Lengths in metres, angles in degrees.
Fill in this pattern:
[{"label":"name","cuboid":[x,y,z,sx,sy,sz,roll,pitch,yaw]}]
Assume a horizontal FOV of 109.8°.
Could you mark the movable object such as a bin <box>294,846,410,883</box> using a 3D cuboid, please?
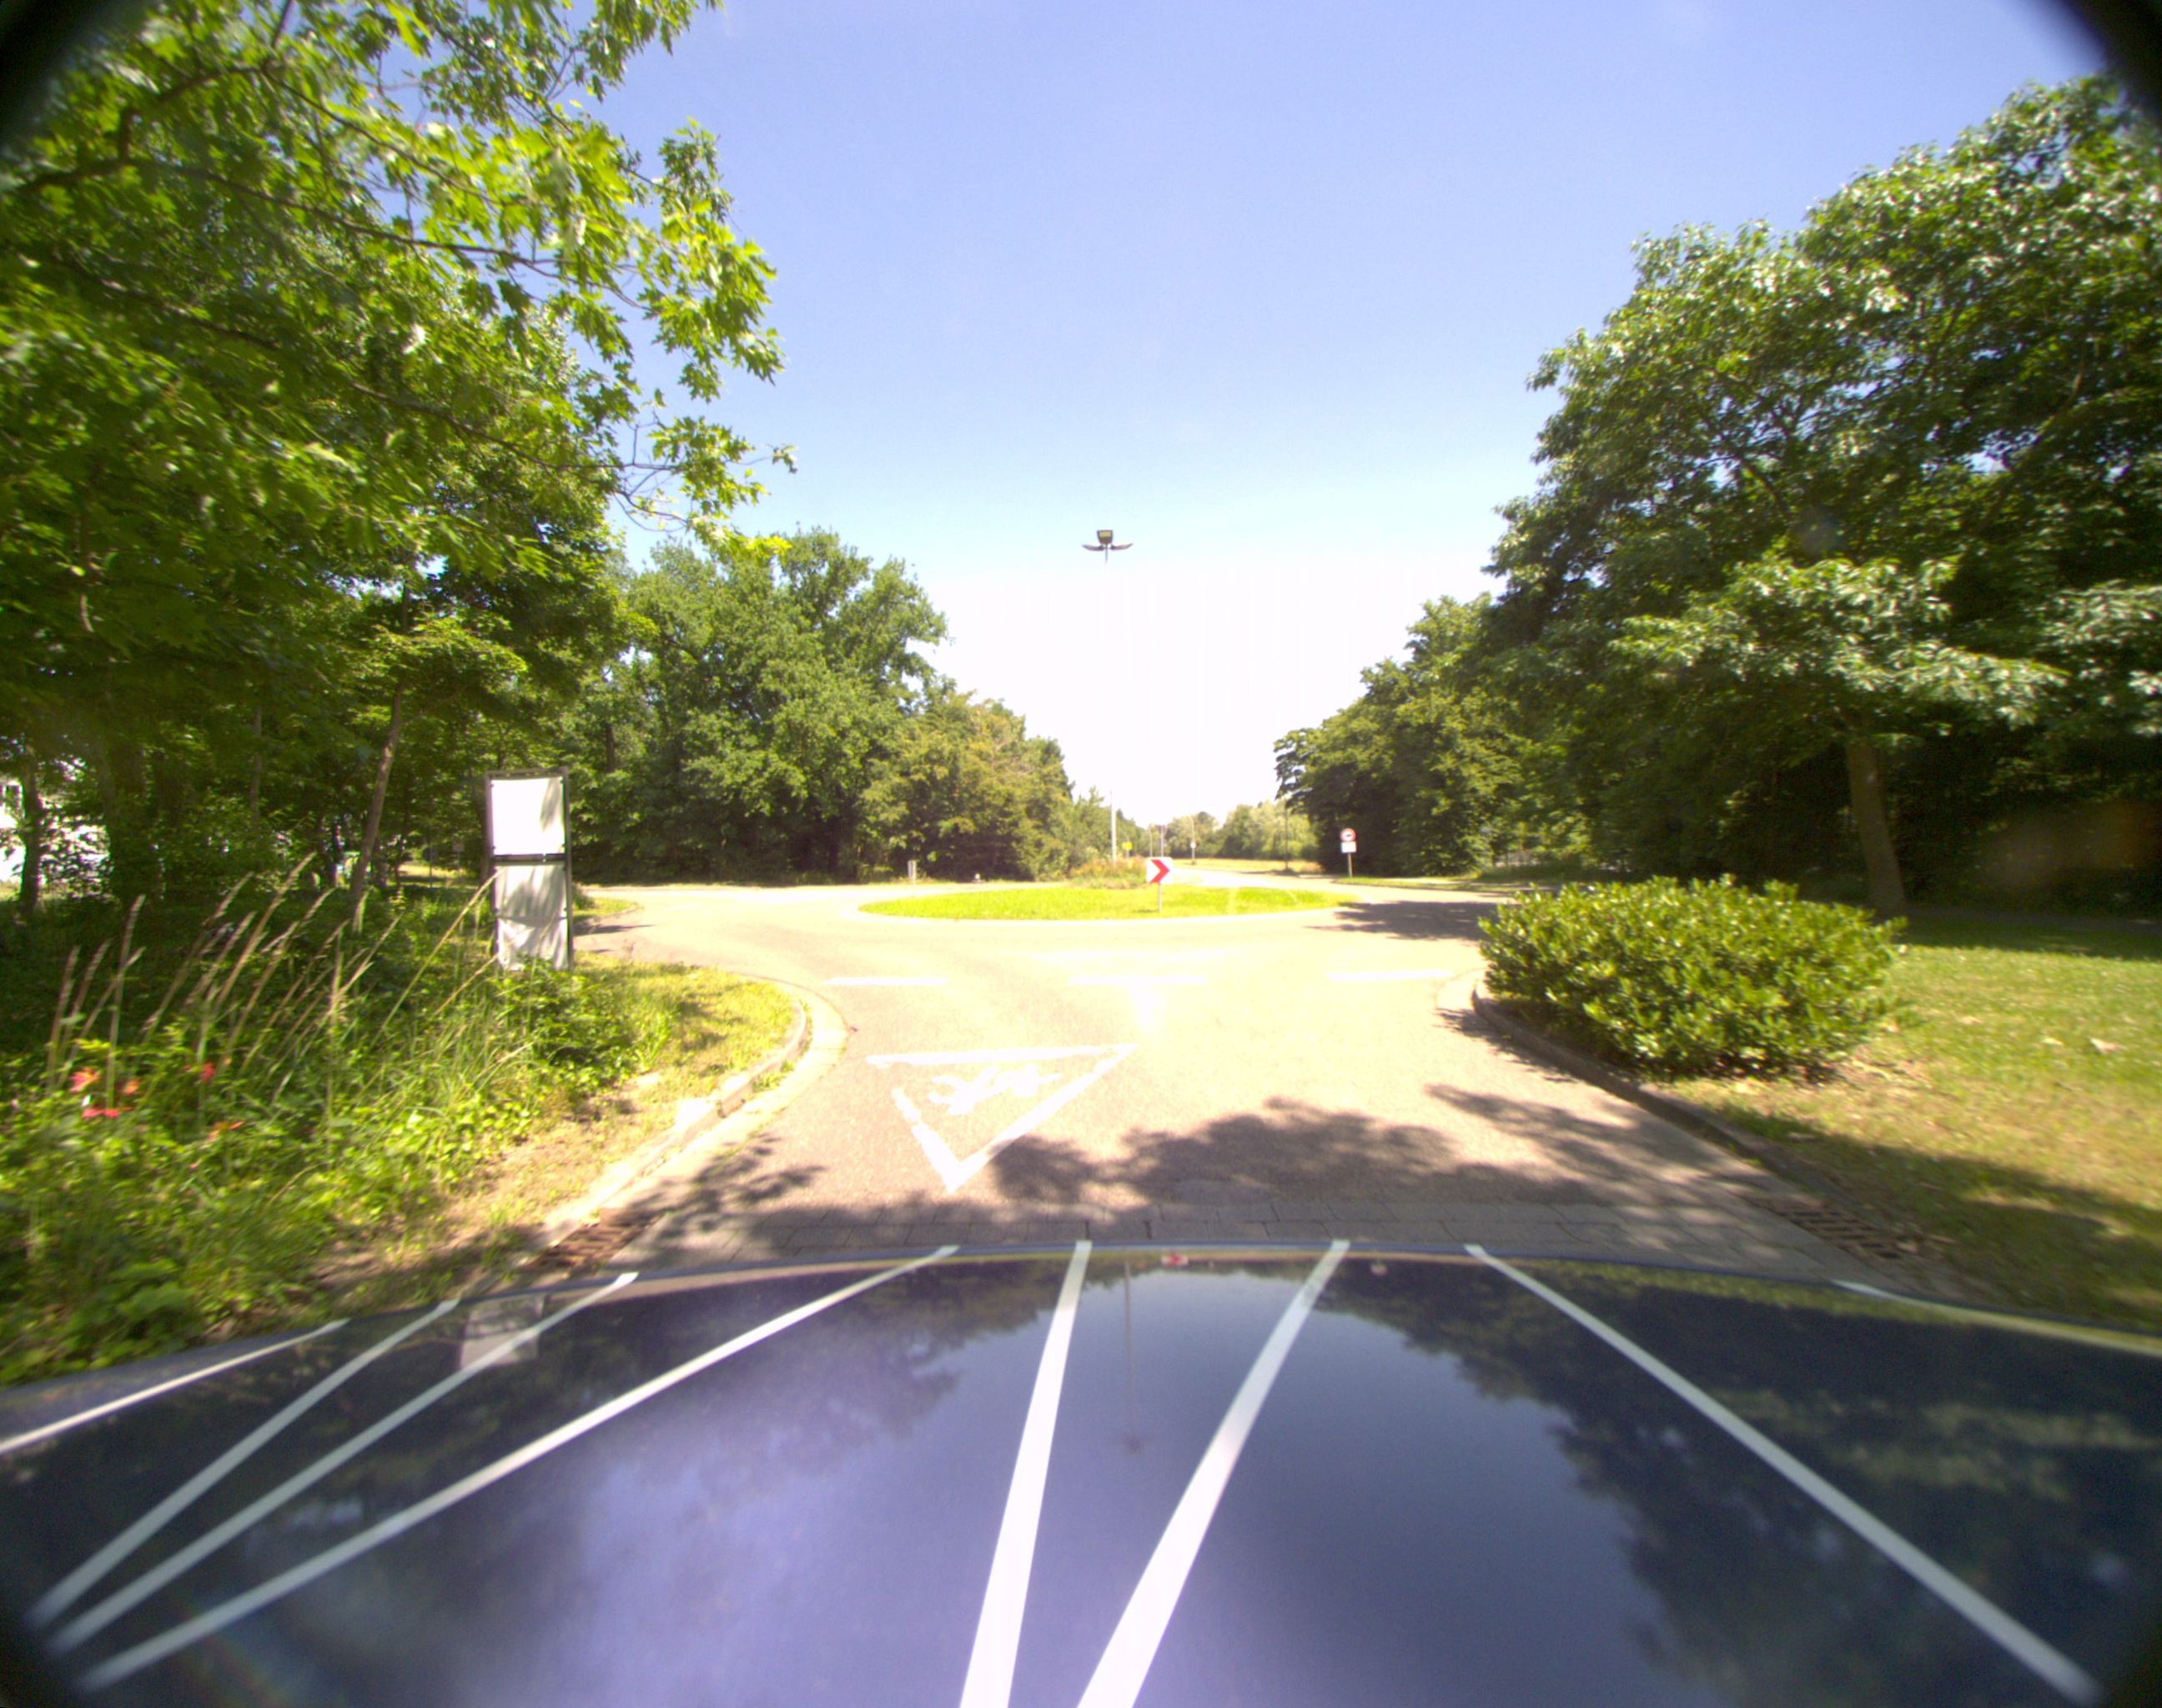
[{"label":"movable object such as a bin","cuboid":[-47.110,0.687,49.187,5.233,2.263,2.524,-1,0,5]}]
